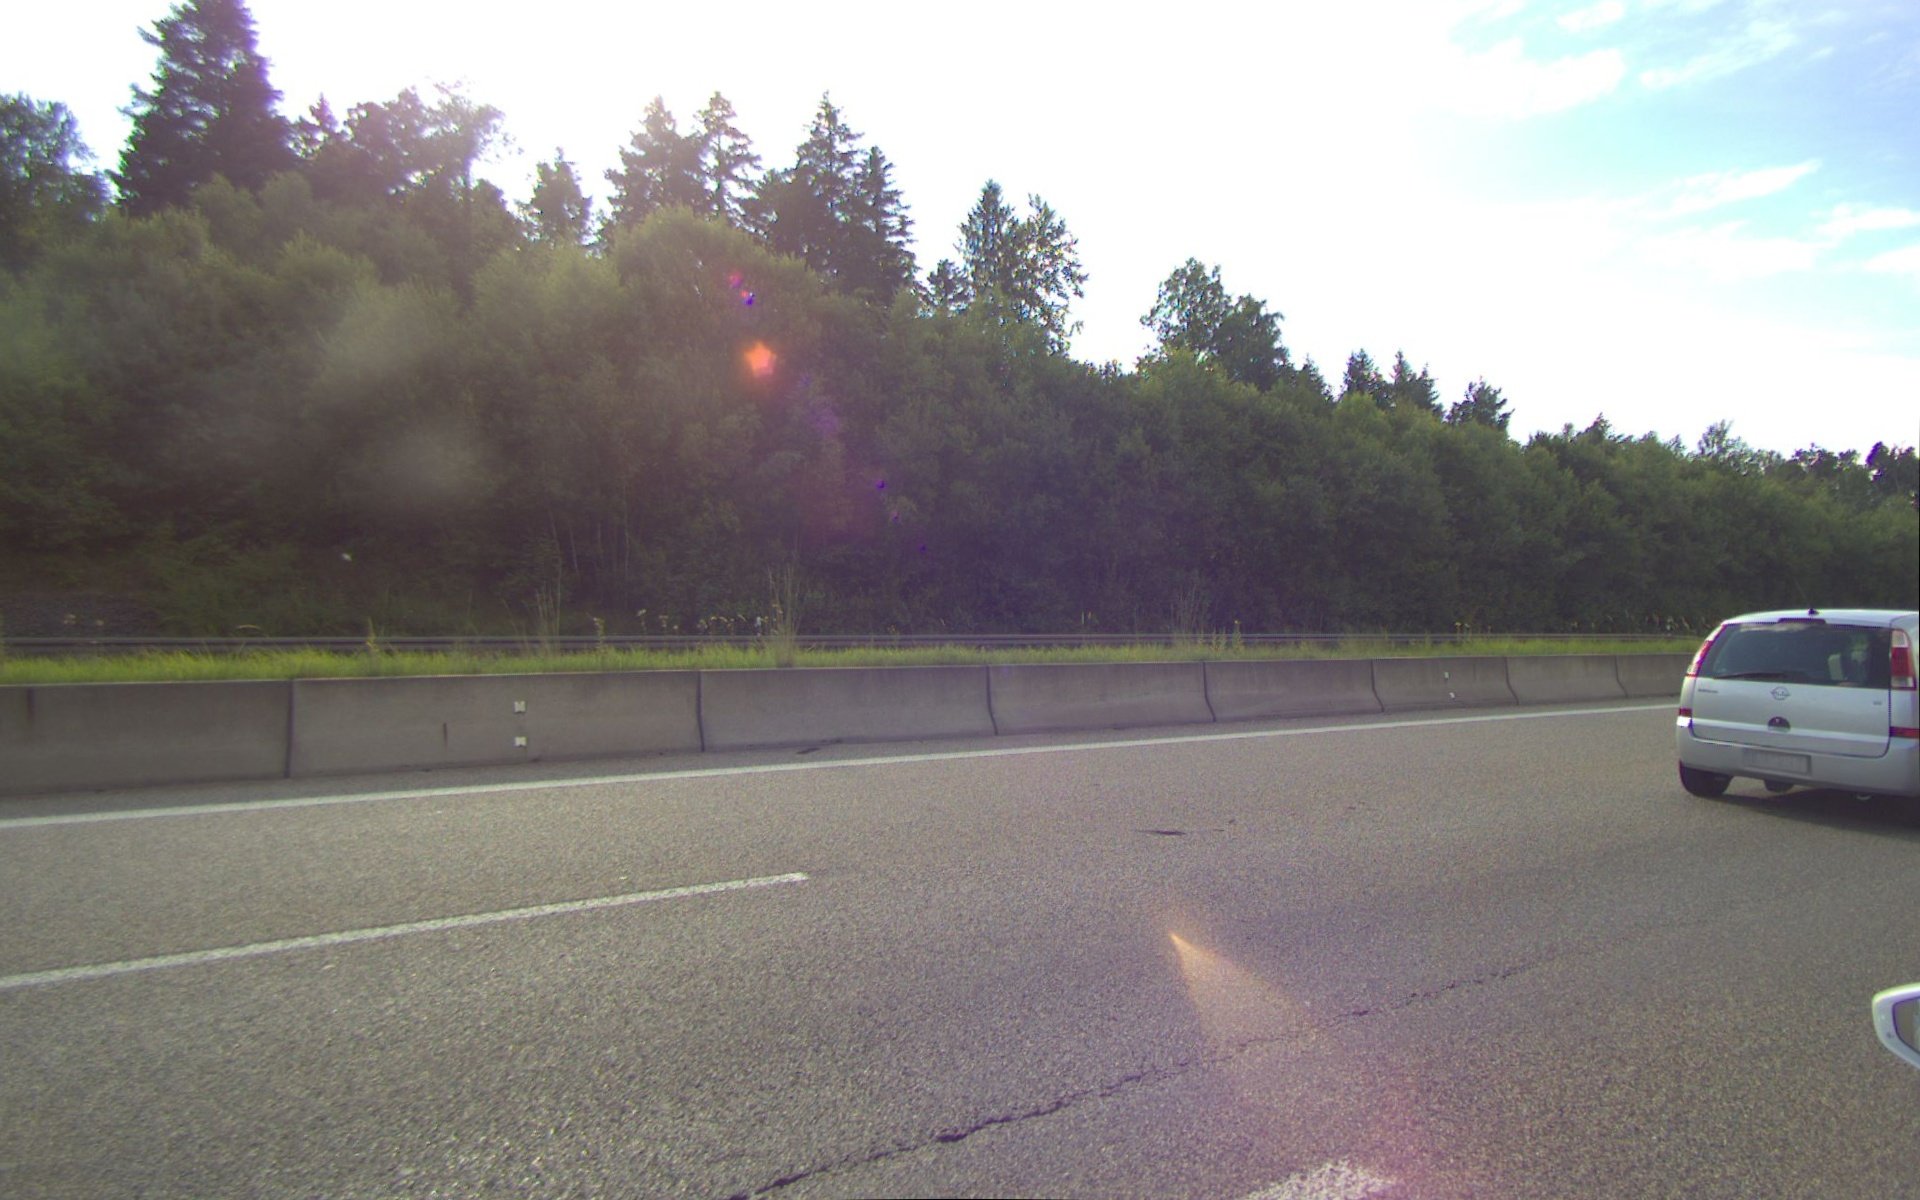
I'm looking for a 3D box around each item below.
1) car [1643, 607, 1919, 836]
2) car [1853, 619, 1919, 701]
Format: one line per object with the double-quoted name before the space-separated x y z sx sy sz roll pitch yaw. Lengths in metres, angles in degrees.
"car" 7.948 0.861 8.577 4.281 1.537 1.827 1 -1 -30
"car" 19.885 1.172 20.037 4.281 1.537 1.827 1 -1 -30
